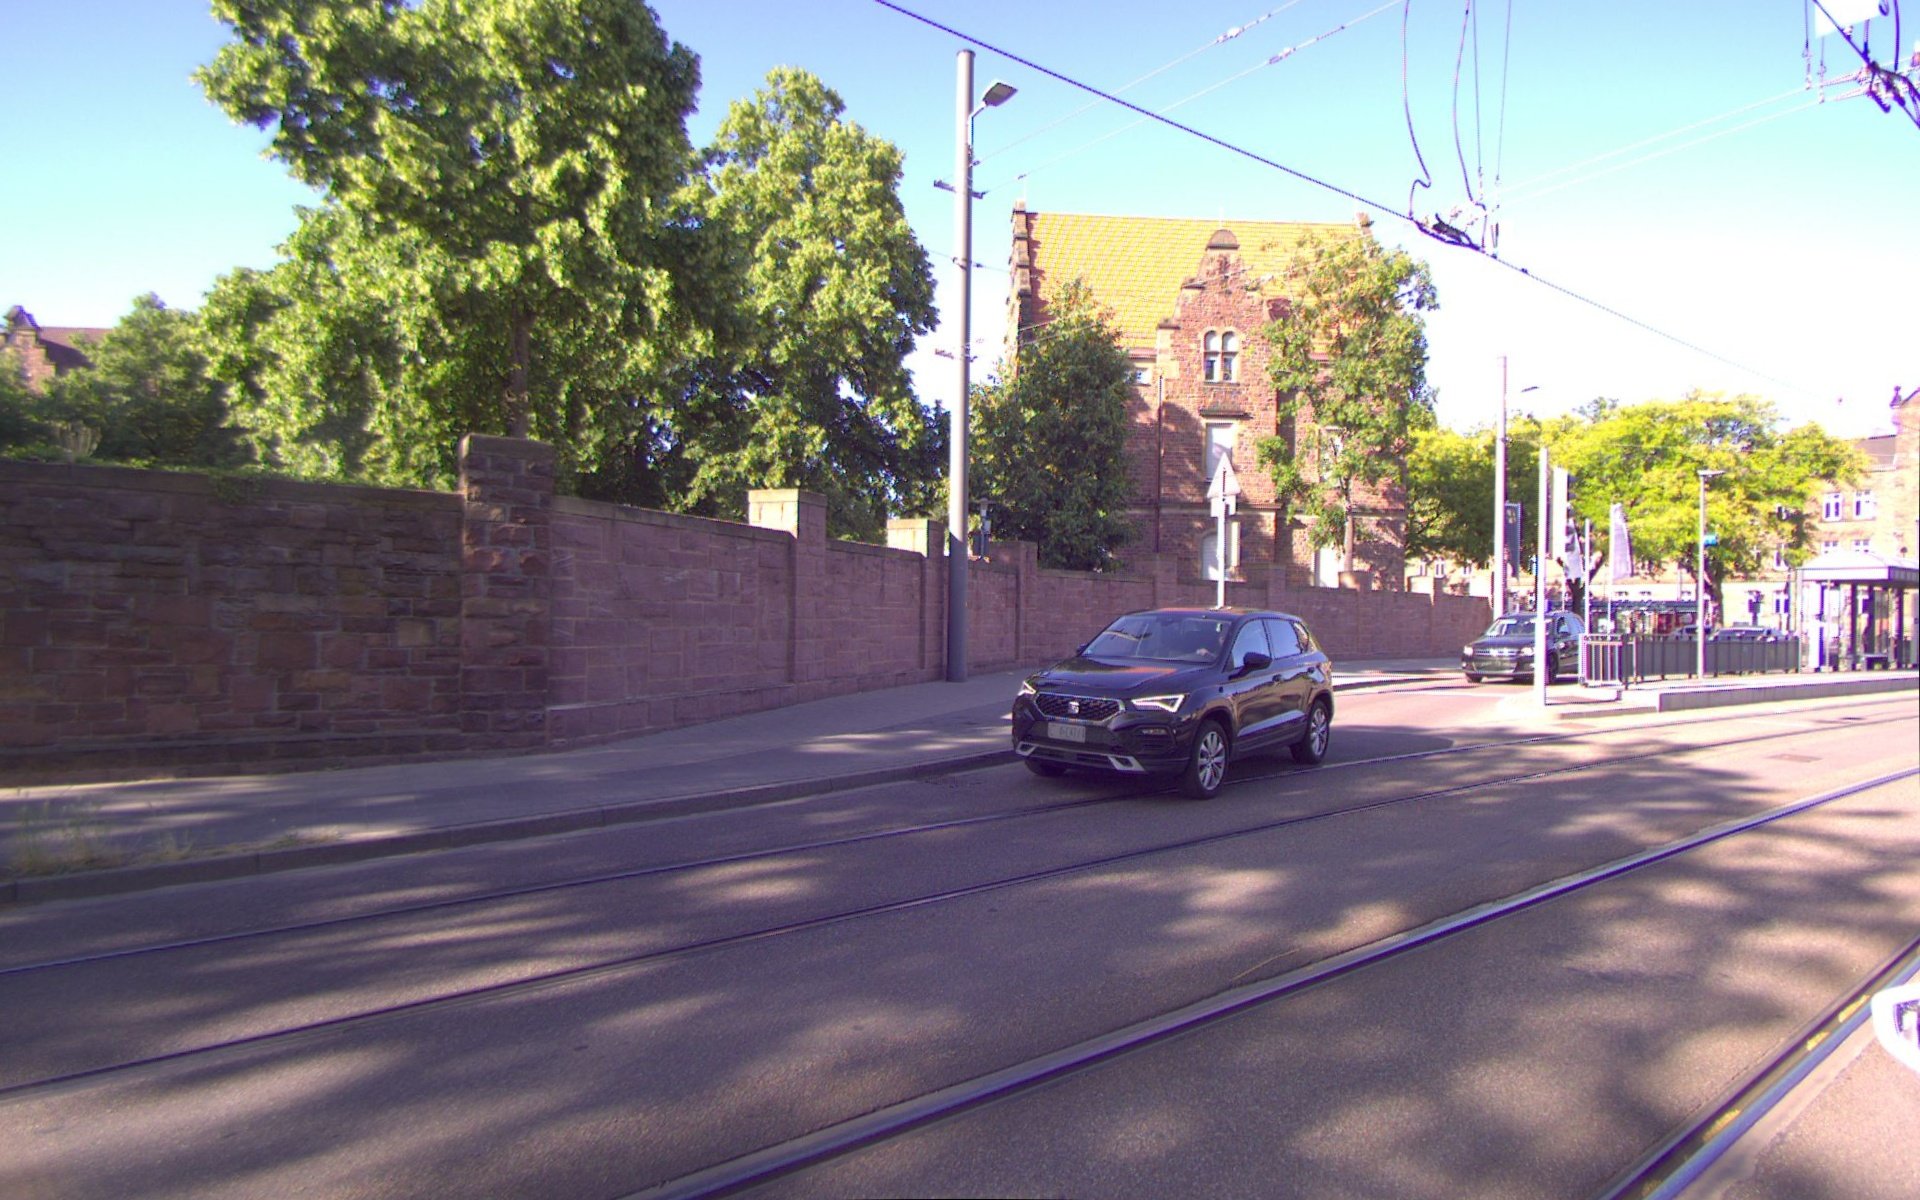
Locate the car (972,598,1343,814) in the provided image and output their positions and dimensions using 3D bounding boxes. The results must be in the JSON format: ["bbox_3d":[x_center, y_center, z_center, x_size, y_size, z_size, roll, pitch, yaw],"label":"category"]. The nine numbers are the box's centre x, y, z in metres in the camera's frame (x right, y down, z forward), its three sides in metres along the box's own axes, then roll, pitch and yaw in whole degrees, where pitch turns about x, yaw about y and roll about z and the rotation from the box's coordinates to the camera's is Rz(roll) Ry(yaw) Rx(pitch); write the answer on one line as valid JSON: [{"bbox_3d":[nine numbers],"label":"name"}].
[{"bbox_3d":[2.114,0.840,9.809,1.898,1.638,4.100,0,-1,39],"label":"car"}]

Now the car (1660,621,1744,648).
[{"bbox_3d":[48.578,2.244,65.853,1.855,1.542,4.045,2,0,-30],"label":"car"}]

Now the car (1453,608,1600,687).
[{"bbox_3d":[13.244,1.062,23.398,4.088,1.659,1.780,2,-2,-42],"label":"car"}]

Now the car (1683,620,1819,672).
[{"bbox_3d":[24.283,1.380,30.791,4.573,1.434,1.873,1,-1,-32],"label":"car"}]

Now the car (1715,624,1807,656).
[{"bbox_3d":[46.688,2.328,58.614,1.730,1.682,3.840,2,0,-30],"label":"car"}]
